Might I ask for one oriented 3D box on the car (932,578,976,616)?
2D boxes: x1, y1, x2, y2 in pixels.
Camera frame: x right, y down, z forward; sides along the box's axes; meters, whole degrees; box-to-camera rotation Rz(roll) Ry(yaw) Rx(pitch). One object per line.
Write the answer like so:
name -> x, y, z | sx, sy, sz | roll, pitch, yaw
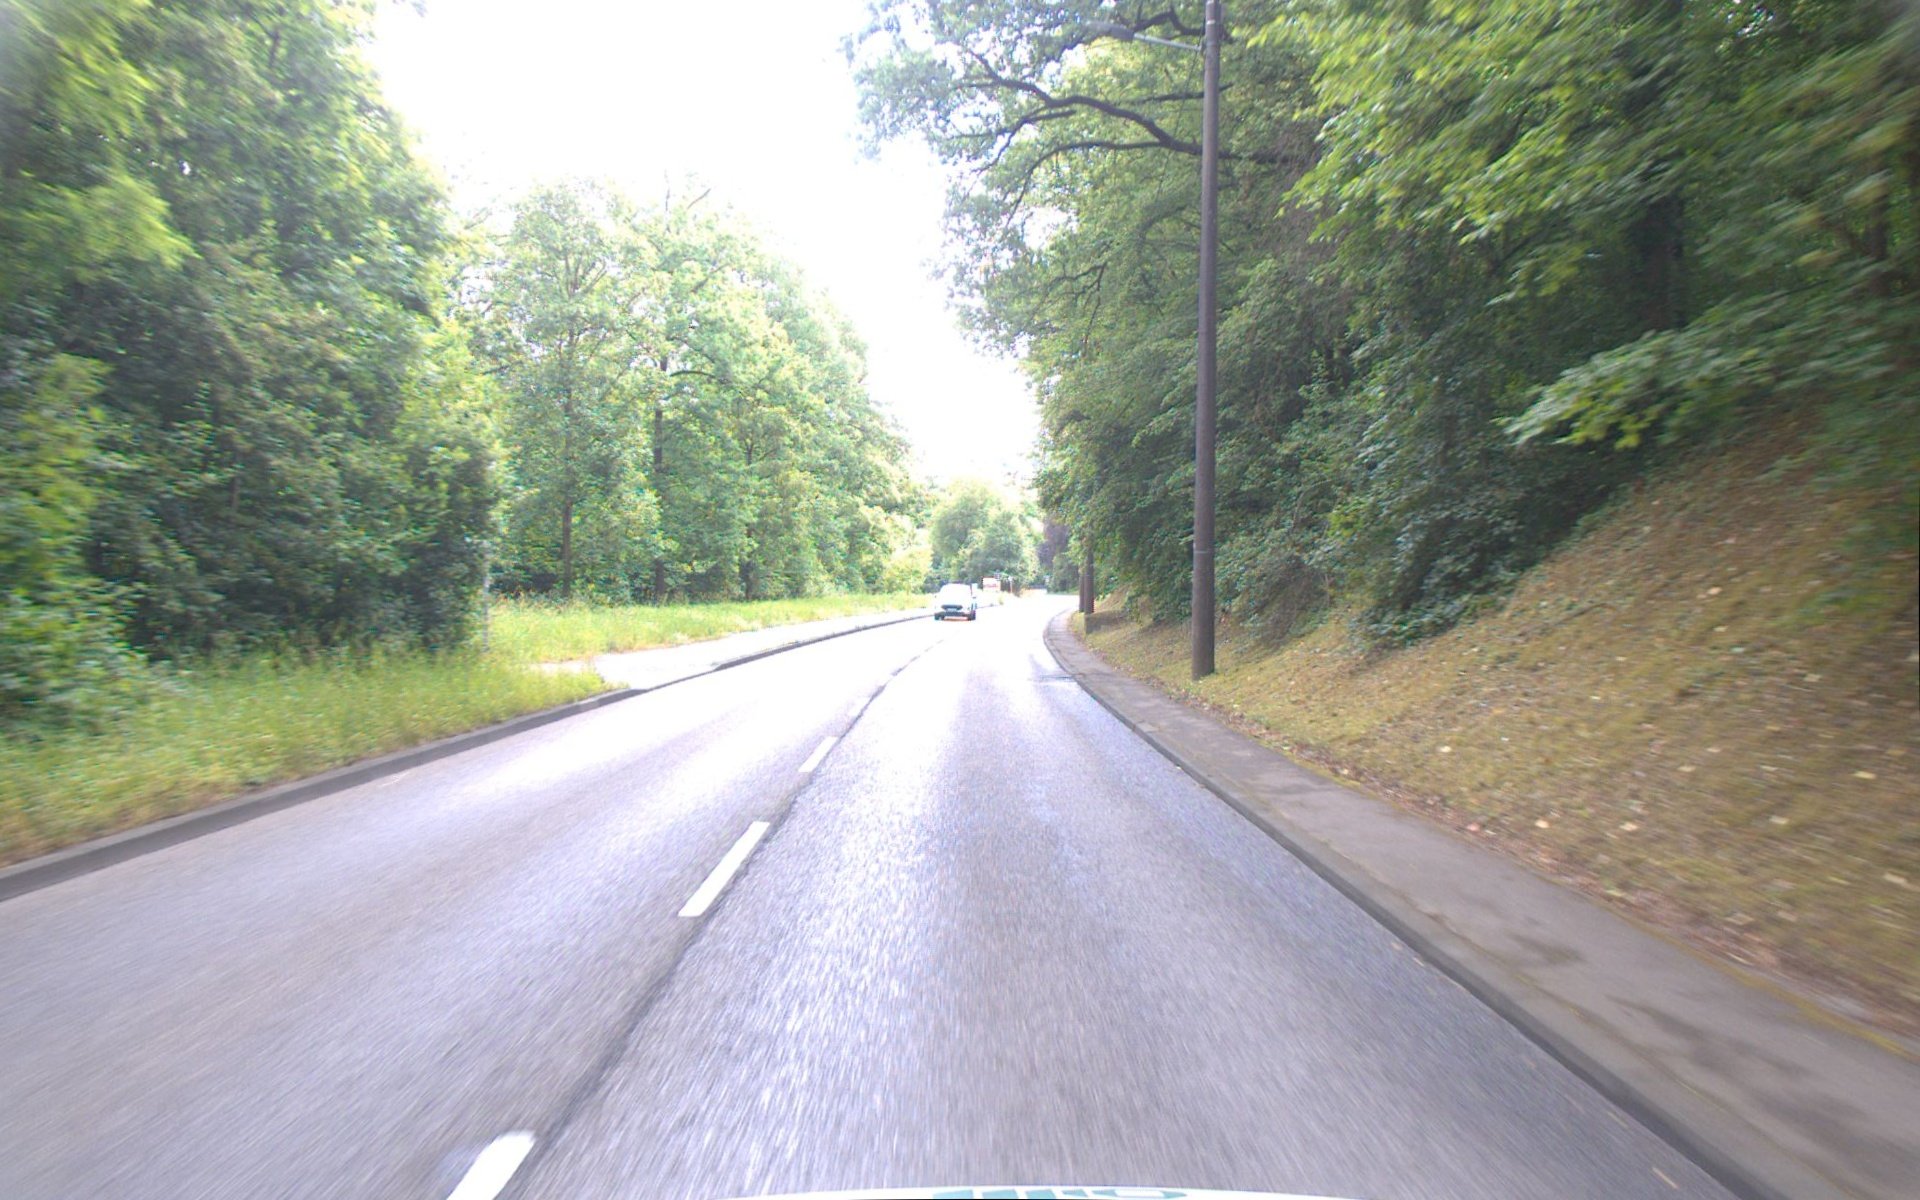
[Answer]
car -> -0.241, -0.136, 80.775 | 1.952, 1.784, 4.783 | 1, 0, 2
